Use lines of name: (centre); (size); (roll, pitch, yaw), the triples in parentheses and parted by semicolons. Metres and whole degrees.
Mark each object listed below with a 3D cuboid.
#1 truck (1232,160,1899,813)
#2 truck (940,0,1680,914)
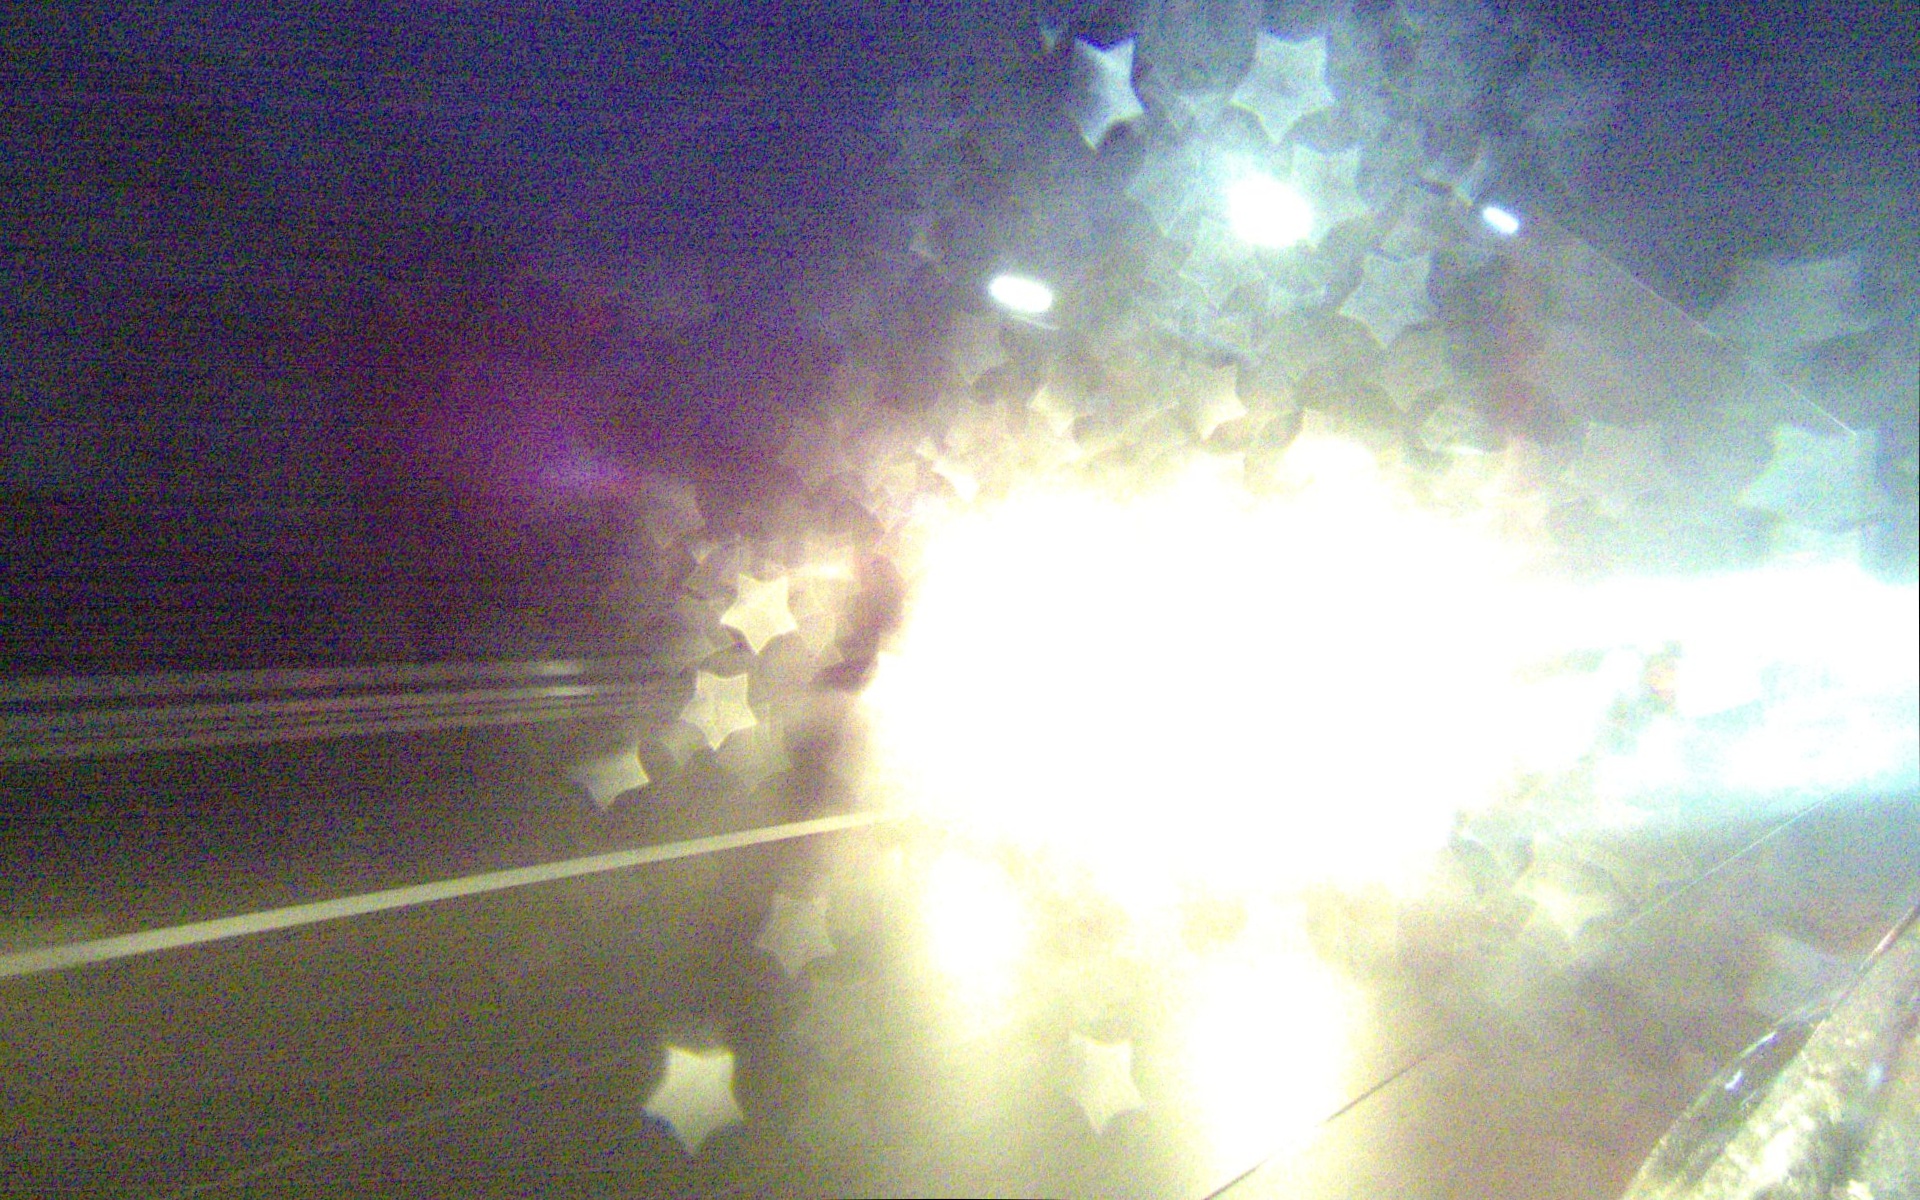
truck: (8.246, -0.823, 11.948); (13.400, 4.301, 2.502); (-1, 0, -40)
truck: (2.919, -0.757, 7.471); (5.876, 4.301, 2.502); (-1, 0, -40)
